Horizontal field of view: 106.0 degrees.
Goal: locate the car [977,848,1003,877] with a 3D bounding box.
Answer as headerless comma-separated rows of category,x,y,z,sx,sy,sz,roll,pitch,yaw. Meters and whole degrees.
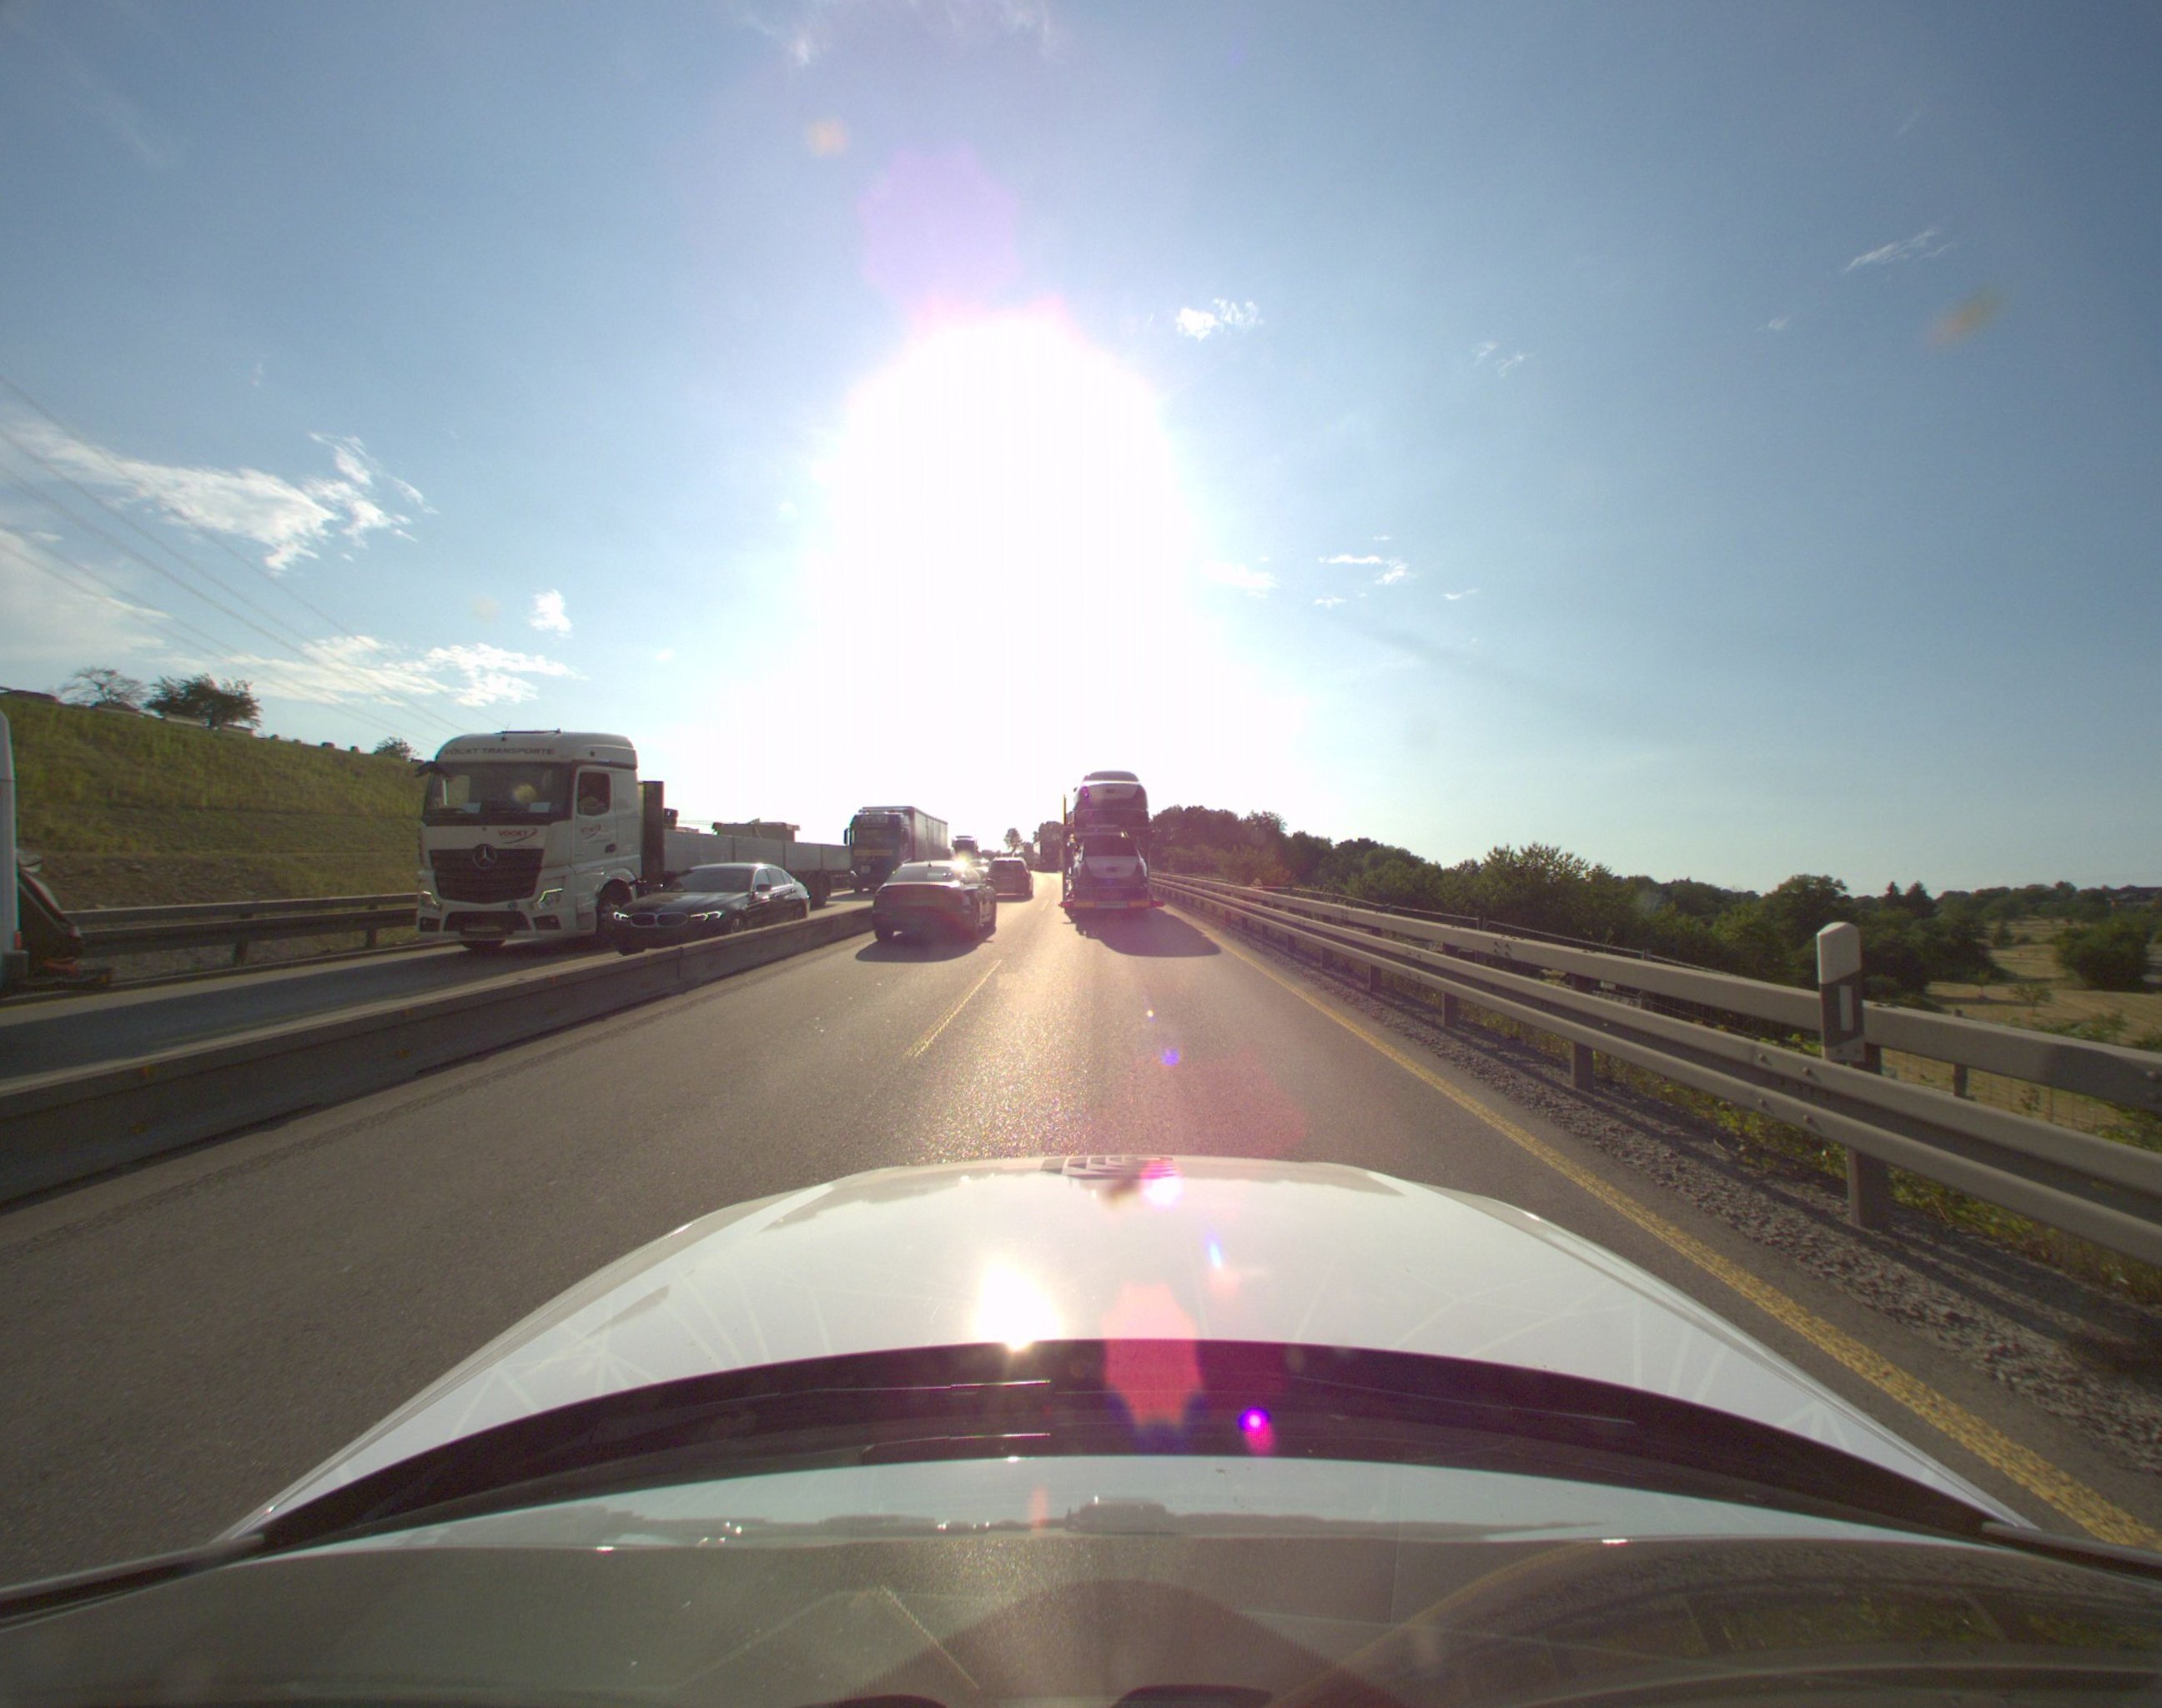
car,-8.476,0.796,76.439,2.053,2.500,6.766,-1,-1,-4

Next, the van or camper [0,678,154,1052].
van or camper,-9.578,0.069,3.501,2.400,2.891,7.618,-1,-1,1

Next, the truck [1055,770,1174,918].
truck,0.737,-0.193,24.735,2.791,3.497,10.600,-1,-1,-1

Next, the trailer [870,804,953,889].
trailer,-9.395,-0.289,46.848,2.301,4.130,14.586,-1,-1,-2

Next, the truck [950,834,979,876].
truck,-11.675,0.149,82.042,2.498,4.066,5.875,-1,-1,-4

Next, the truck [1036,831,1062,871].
truck,-4.377,-0.332,110.449,3.278,5.237,9.926,-1,-1,-2

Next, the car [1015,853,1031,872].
car,-7.764,1.191,109.788,1.916,2.492,5.403,-1,-1,-2

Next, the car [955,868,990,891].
car,-7.231,1.677,54.887,1.753,1.378,4.766,-1,-1,-1

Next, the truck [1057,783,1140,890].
truck,0.489,-0.584,34.205,2.831,3.792,9.977,-1,-1,-2

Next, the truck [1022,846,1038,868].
truck,-8.750,0.467,140.752,2.524,3.648,8.896,-1,-1,-2

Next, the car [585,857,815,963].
car,-6.266,0.833,14.067,1.788,1.511,4.585,-1,-1,0

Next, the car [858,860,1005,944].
car,-2.801,0.834,16.454,1.927,1.399,4.962,0,0,1

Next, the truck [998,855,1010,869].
truck,-18.017,1.863,189.939,2.585,3.170,6.667,-1,-1,-4

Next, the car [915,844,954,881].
car,-10.707,0.652,59.850,2.153,2.558,5.581,-1,-1,-4

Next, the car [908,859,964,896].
car,-6.322,0.976,35.875,1.754,1.508,4.252,-1,-1,-1

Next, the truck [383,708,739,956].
truck,-9.283,-0.307,15.654,2.592,3.754,6.516,-1,-1,0

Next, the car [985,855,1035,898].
car,-2.783,0.855,32.644,1.687,1.596,3.998,-1,-1,-1

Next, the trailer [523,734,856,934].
trailer,-9.270,-0.316,22.261,2.512,3.725,13.972,-1,-1,-1

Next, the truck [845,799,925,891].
truck,-9.265,-0.360,39.005,2.496,4.066,5.662,-1,-1,-1
